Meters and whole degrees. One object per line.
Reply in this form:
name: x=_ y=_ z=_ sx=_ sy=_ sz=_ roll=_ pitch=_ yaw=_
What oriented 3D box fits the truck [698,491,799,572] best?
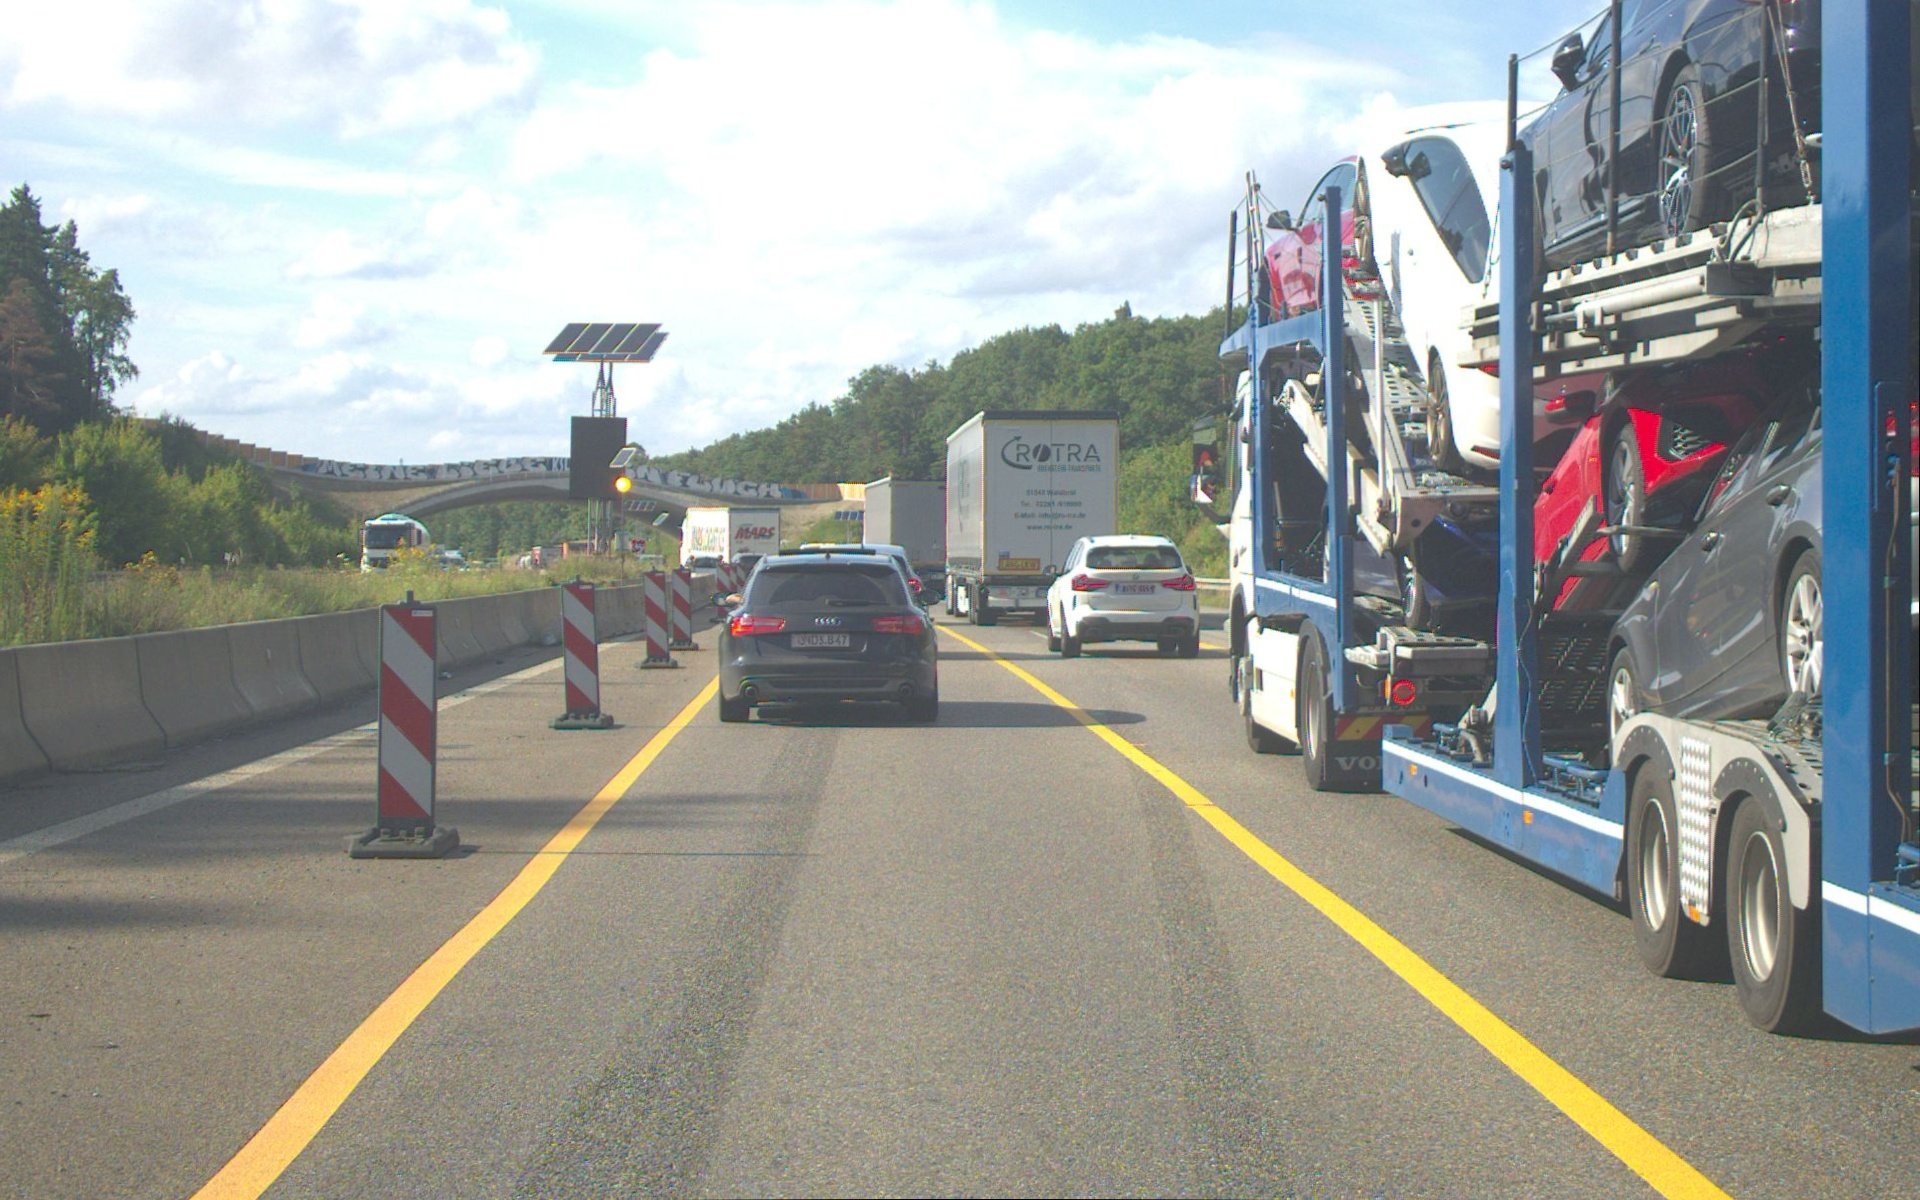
truck: x=-10.742 y=-3.420 z=173.589 sx=3.653 sy=3.915 sz=11.070 roll=0 pitch=1 yaw=-11

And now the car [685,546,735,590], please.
car: x=-11.499 y=-1.471 z=158.067 sx=1.993 sy=2.007 sz=4.001 roll=0 pitch=1 yaw=-8

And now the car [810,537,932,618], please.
car: x=-1.689 y=-0.423 z=63.876 sx=1.890 sy=1.441 sz=4.001 roll=0 pitch=1 yaw=-7

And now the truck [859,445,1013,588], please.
truck: x=-0.930 y=-2.760 z=117.039 sx=4.318 sy=4.584 sz=11.127 roll=0 pitch=1 yaw=-5

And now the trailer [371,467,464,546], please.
trailer: x=-25.264 y=-4.323 z=160.688 sx=2.802 sy=3.478 sz=11.113 roll=0 pitch=1 yaw=-1

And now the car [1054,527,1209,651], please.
car: x=2.337 y=-0.163 z=47.811 sx=1.890 sy=1.638 sz=4.018 roll=0 pitch=1 yaw=-1

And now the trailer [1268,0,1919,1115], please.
trailer: x=4.158 y=-0.795 z=13.144 sx=3.726 sy=4.182 sz=16.229 roll=0 pitch=1 yaw=-3

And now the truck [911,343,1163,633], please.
truck: x=1.307 y=-2.157 z=71.588 sx=3.677 sy=5.335 sz=16.204 roll=0 pitch=1 yaw=-4

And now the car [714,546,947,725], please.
car: x=-1.084 y=0.265 z=30.007 sx=1.890 sy=1.441 sz=4.000 roll=0 pitch=1 yaw=-1

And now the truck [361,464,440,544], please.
truck: x=-25.111 y=-4.276 z=154.508 sx=2.785 sy=3.478 sz=4.939 roll=0 pitch=1 yaw=-1

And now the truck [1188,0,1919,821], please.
truck: x=3.770 y=-1.011 z=21.542 sx=3.761 sy=4.182 sz=7.952 roll=0 pitch=1 yaw=-3

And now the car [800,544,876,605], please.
car: x=-3.396 y=-0.721 z=95.156 sx=1.890 sy=1.638 sz=4.018 roll=0 pitch=1 yaw=-5
